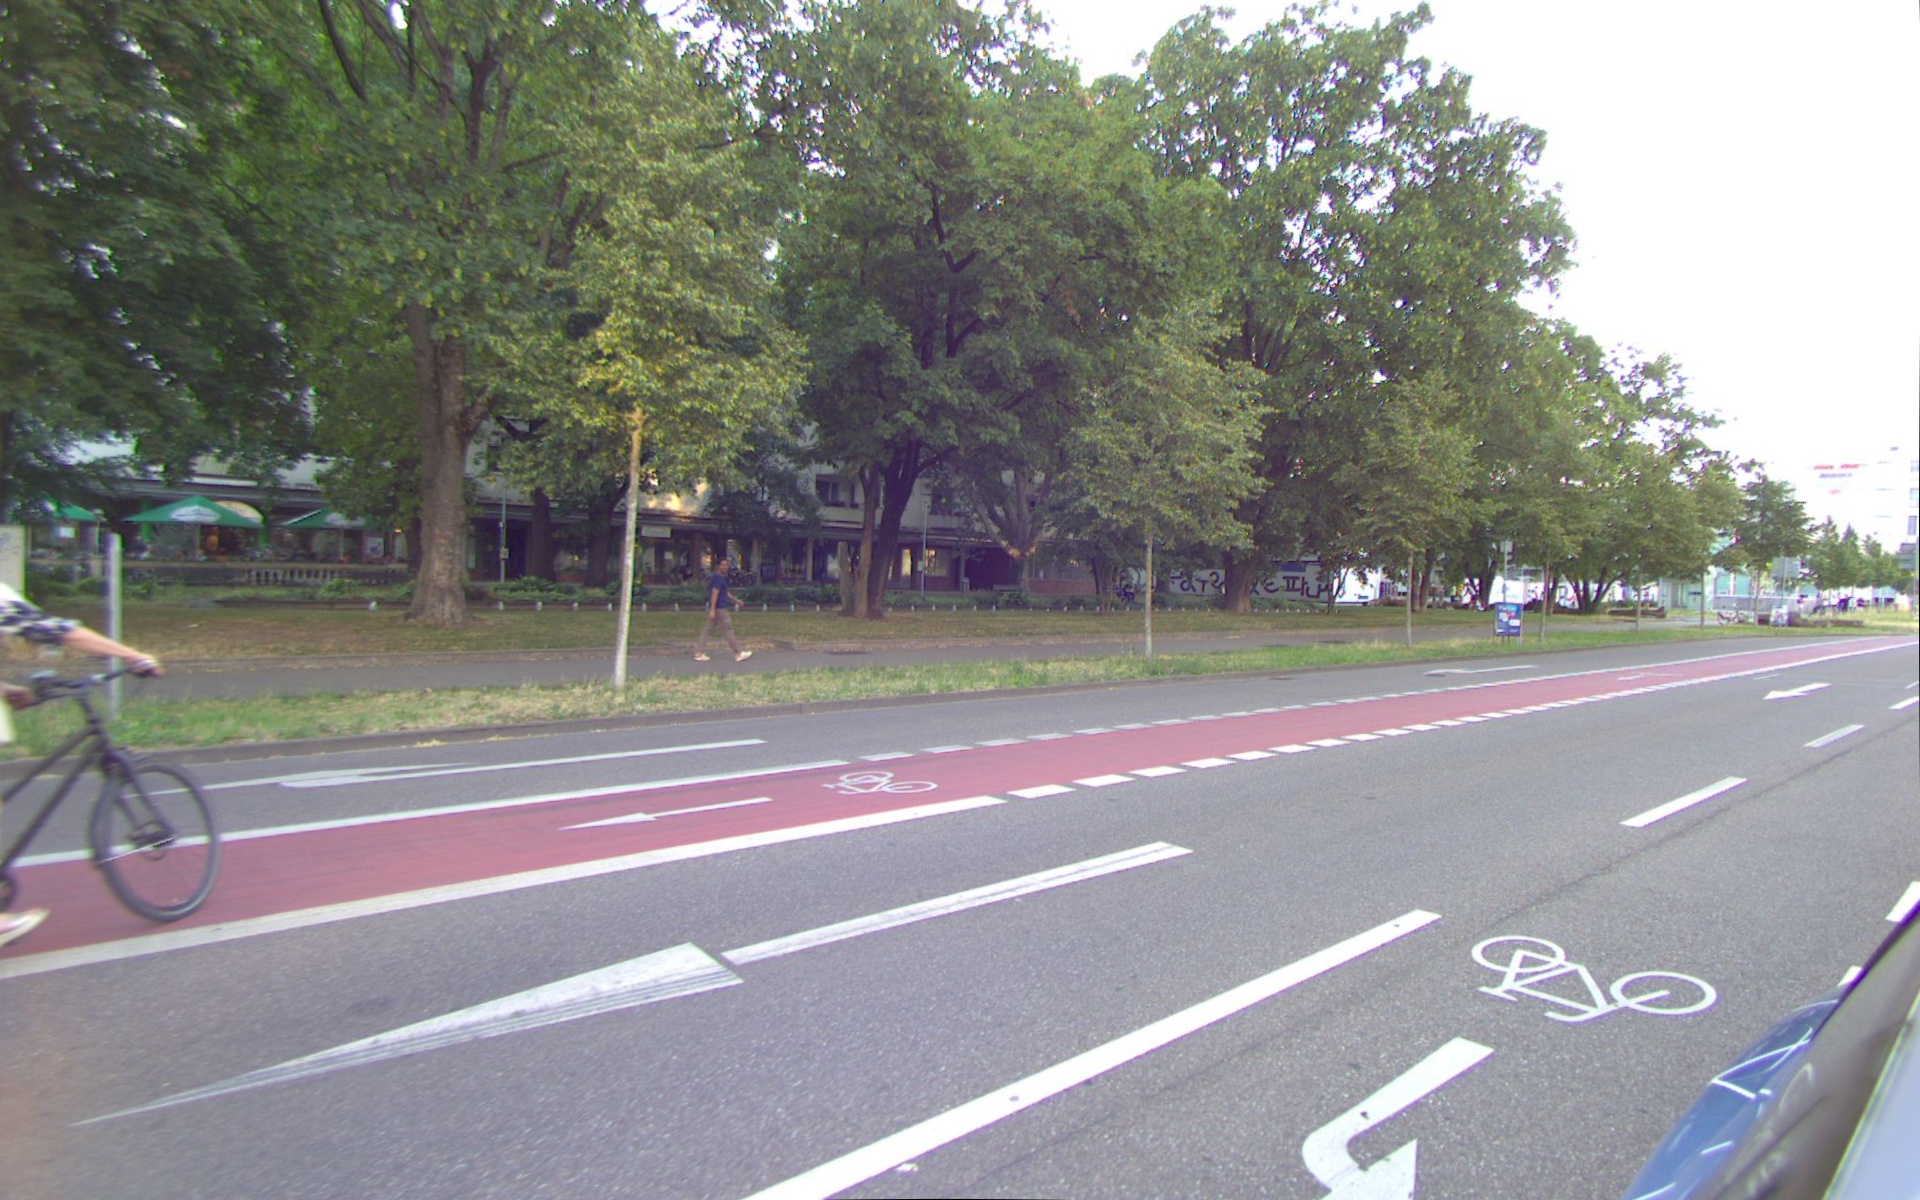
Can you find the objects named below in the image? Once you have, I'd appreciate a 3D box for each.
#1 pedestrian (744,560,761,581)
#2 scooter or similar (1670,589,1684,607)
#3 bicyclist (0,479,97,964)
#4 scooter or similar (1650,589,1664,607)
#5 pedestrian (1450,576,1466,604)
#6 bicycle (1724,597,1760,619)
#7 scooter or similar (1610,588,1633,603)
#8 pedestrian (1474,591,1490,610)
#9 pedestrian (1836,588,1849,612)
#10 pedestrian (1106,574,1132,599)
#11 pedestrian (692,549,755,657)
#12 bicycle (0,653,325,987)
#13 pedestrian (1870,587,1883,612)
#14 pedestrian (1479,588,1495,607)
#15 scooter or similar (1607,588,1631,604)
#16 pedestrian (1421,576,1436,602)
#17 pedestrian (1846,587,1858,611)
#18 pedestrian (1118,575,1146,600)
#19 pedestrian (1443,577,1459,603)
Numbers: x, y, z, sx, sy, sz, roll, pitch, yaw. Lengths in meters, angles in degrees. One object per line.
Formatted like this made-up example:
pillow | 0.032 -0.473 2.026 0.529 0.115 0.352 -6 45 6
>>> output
pedestrian | -12.029 -1.720 58.745 0.687 1.178 0.788 1 2 -38
scooter or similar | 50.037 -0.125 70.622 1.373 1.235 0.425 1 4 -40
bicyclist | -3.731 0.420 3.662 0.709 1.714 0.740 2 2 31
scooter or similar | 49.231 -0.163 71.472 0.473 1.235 1.550 6 4 43
pedestrian | 35.811 -0.711 72.710 0.587 1.943 0.771 1 1 -25
bicycle | 40.339 0.423 52.202 1.858 1.017 0.497 2 4 -20
scooter or similar | 55.046 -0.344 84.250 0.466 1.236 1.571 0 1 -42
pedestrian | 26.146 0.018 50.736 0.674 0.895 0.618 2 2 27
pedestrian | 72.430 -0.015 83.052 0.608 1.957 0.644 1 2 -38
pedestrian | 8.426 -0.700 53.602 0.712 1.276 1.135 1 2 -38
pedestrian | -3.852 0.032 16.503 0.735 1.714 0.696 0 2 -41
bicycle | -3.646 0.817 3.839 0.725 1.082 2.000 1 1 30
pedestrian | 73.122 -0.048 80.751 0.608 1.957 0.644 1 2 -40
pedestrian | 26.072 -0.113 50.071 0.674 0.895 0.588 2 1 25
scooter or similar | 54.484 -0.328 83.672 0.466 1.236 1.571 0 1 -42
pedestrian | 34.632 -0.831 74.812 0.587 1.879 0.771 1 1 -25
pedestrian | 76.295 -0.083 86.575 0.608 1.957 0.644 1 2 -38
pedestrian | 9.196 -0.684 54.135 0.889 1.276 1.135 1 2 -38
pedestrian | 36.096 -0.747 74.393 0.587 1.843 0.771 1 1 -25
